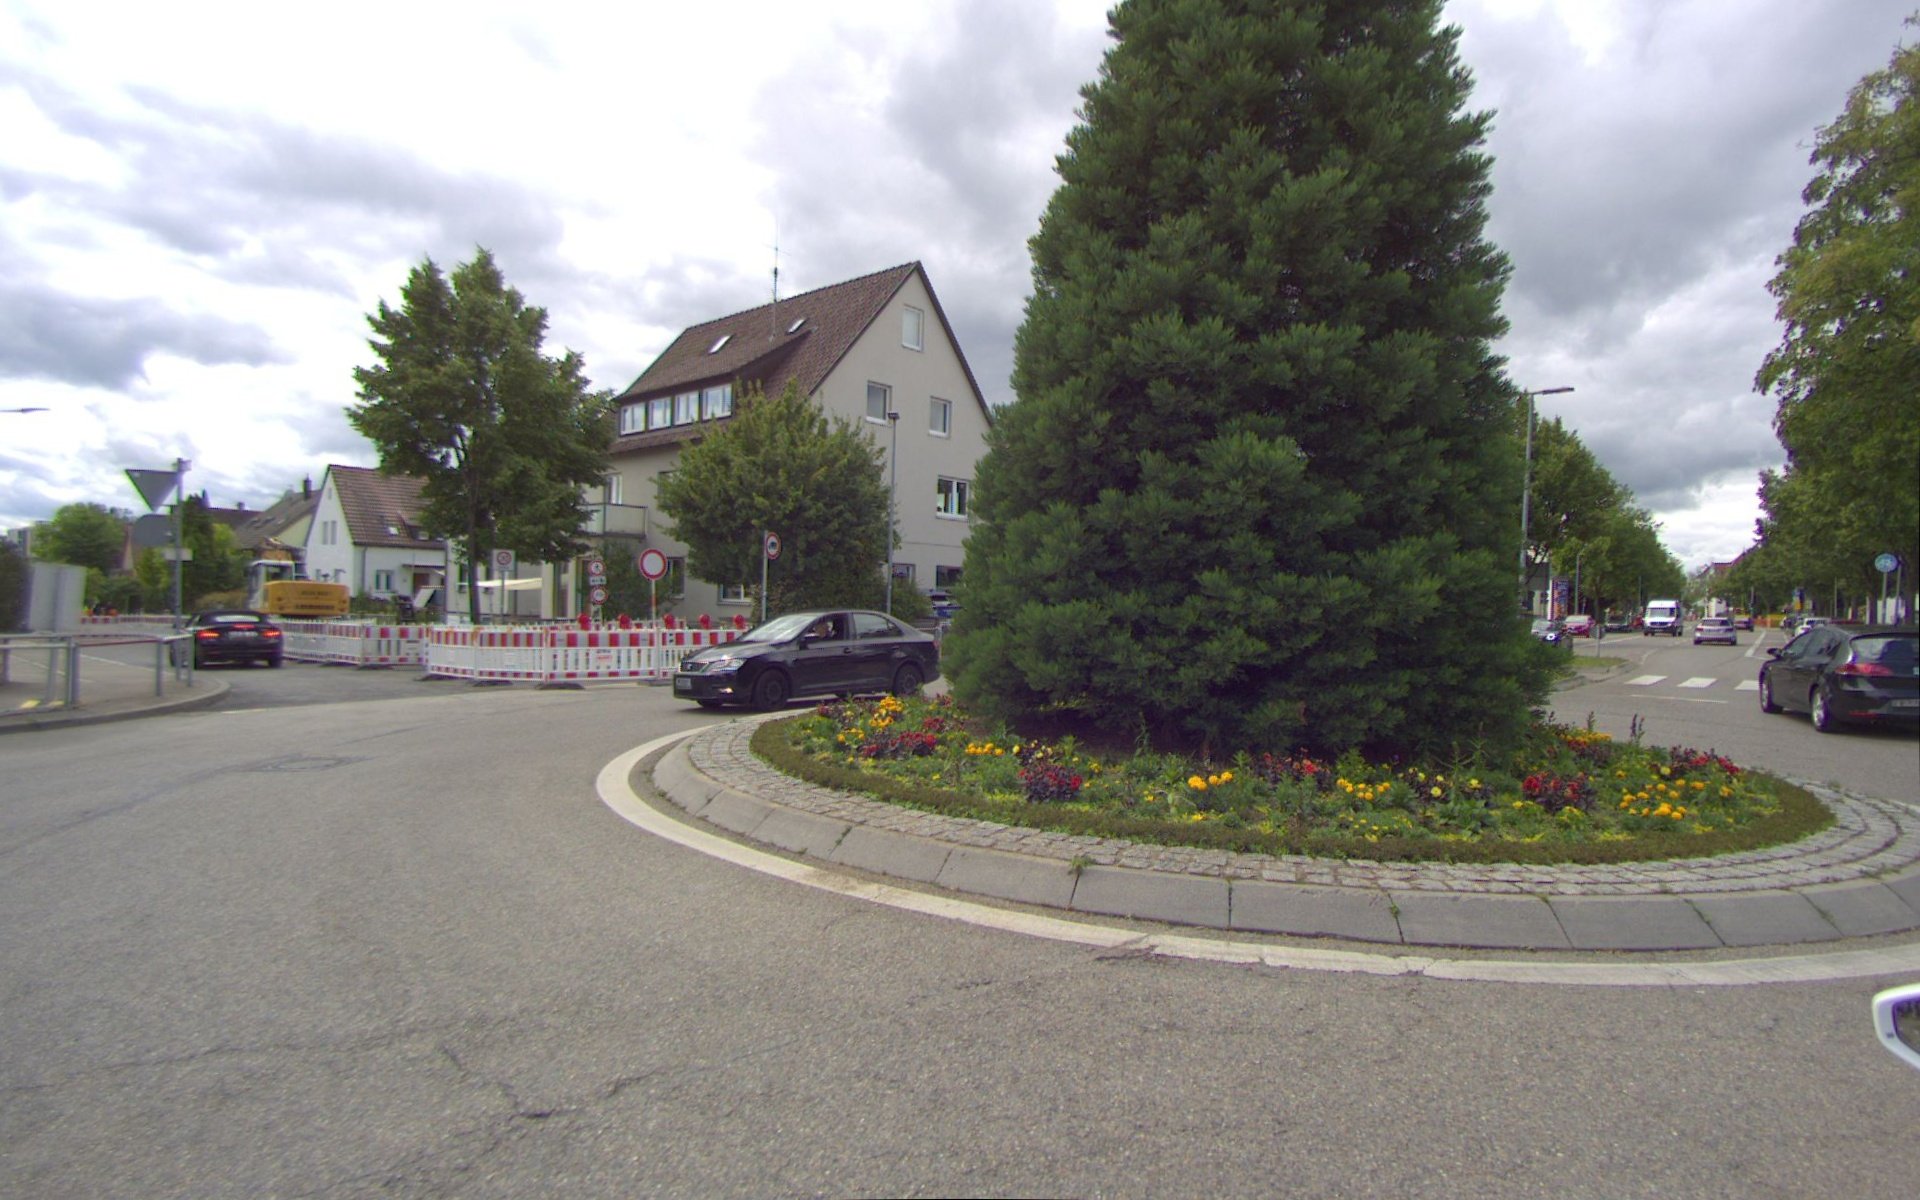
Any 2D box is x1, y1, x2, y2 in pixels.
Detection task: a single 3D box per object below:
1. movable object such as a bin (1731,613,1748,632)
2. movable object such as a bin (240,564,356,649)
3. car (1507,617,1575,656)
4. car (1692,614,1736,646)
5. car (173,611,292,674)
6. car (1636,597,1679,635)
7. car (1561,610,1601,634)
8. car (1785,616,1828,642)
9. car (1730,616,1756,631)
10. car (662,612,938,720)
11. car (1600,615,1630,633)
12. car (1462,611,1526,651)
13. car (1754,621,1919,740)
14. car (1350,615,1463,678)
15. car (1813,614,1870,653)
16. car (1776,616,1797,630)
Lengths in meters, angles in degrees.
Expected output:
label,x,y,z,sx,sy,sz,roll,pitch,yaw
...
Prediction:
label,x,y,z,sx,sy,sz,roll,pitch,yaw
movable object such as a bin,109.715,3.184,141.435,1.745,2.608,3.726,1,0,36
movable object such as a bin,-24.485,0.215,37.124,3.644,2.954,2.666,1,0,40
car,21.894,1.335,37.803,1.555,1.380,3.724,1,0,41
car,41.148,1.598,54.871,1.881,1.708,3.726,0,-1,36
car,-17.831,0.990,24.573,3.562,1.350,1.691,1,0,42
car,51.823,1.139,74.580,1.995,2.710,5.777,1,0,41
car,42.032,1.455,67.987,1.665,1.561,4.111,1,0,41
car,48.810,1.638,57.967,1.632,1.435,4.160,-1,-1,37
car,76.136,2.247,97.732,1.786,1.393,3.681,0,0,35
car,-2.256,0.893,14.935,1.519,1.393,3.956,-1,-1,44
car,55.886,2.023,85.705,1.710,1.488,4.281,0,-1,40
car,25.554,1.434,47.954,1.750,1.794,4.528,1,0,41
car,12.857,1.046,14.231,1.791,1.457,3.735,0,-1,26
car,10.979,1.104,24.539,1.588,1.390,4.490,0,-2,37
car,35.609,1.363,40.652,1.546,1.474,3.653,1,-1,39
car,93.366,2.578,113.486,1.684,1.474,4.598,0,-1,37
